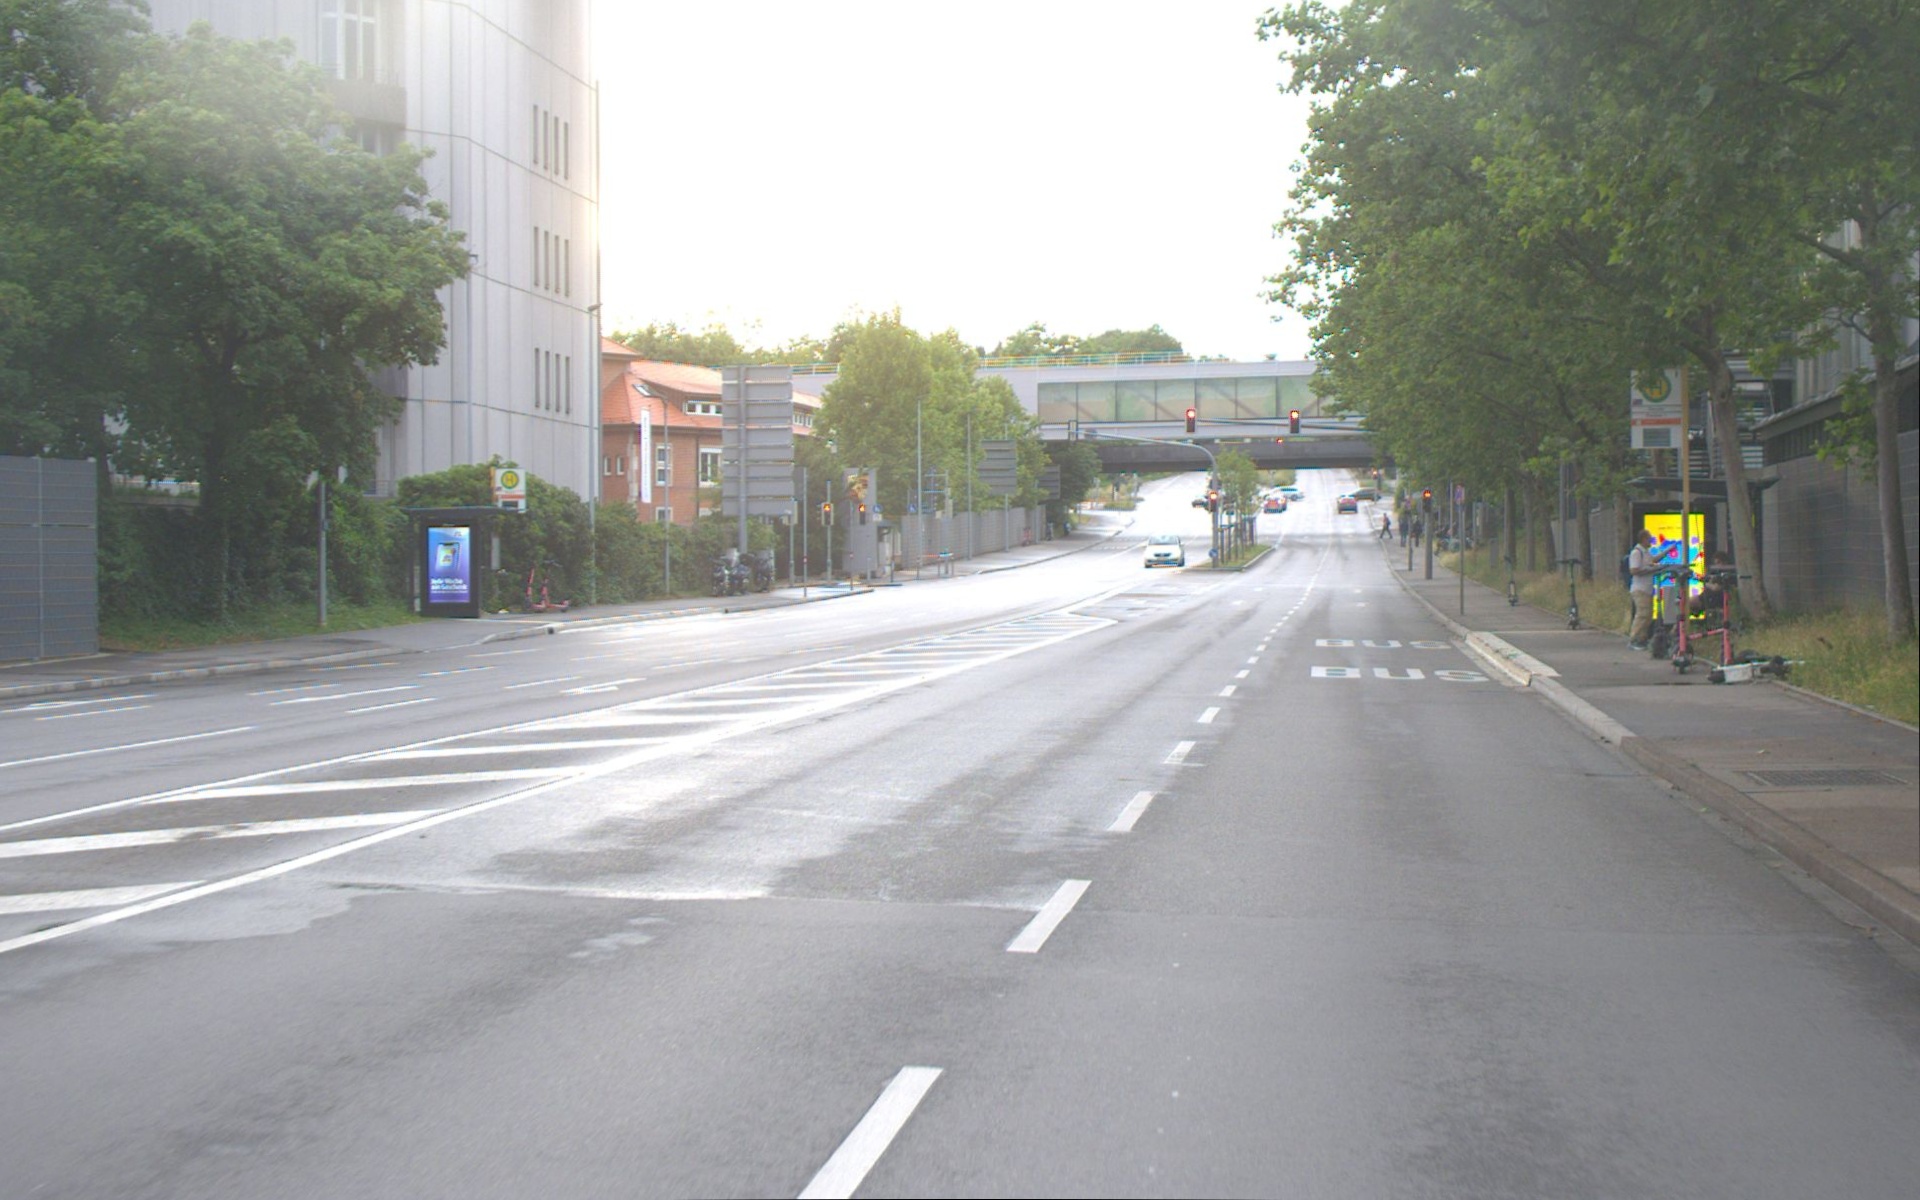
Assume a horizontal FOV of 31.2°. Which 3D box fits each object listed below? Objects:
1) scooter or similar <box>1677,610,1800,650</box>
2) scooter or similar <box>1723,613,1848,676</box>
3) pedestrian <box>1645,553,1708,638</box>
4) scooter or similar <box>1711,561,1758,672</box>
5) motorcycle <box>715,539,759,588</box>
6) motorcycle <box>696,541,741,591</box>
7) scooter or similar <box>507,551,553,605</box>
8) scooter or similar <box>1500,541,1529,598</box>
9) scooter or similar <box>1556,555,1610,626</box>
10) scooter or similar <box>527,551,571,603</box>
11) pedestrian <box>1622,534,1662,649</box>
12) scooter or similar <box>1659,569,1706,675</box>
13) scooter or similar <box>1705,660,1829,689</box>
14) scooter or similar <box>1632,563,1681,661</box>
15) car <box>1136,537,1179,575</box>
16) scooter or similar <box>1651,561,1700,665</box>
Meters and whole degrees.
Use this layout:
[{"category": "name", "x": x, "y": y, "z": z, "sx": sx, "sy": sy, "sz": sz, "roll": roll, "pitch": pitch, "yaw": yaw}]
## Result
[{"category": "scooter or similar", "x": 10.759, "y": 0.414, "z": 47.493, "sx": 1.563, "sy": 0.517, "sz": 0.642, "roll": 0, "pitch": 1, "yaw": 23}, {"category": "scooter or similar", "x": 9.896, "y": 0.524, "z": 41.258, "sx": 0.652, "sy": 0.711, "sz": 1.525, "roll": -1, "pitch": 1, "yaw": -25}, {"category": "pedestrian", "x": 11.214, "y": -0.074, "z": 53.808, "sx": 0.951, "sy": 1.312, "sz": 0.685, "roll": 0, "pitch": 1, "yaw": 13}, {"category": "scooter or similar", "x": 8.729, "y": 0.176, "z": 38.776, "sx": 0.388, "sy": 1.222, "sz": 1.073, "roll": -1, "pitch": 1, "yaw": 7}, {"category": "motorcycle", "x": -7.225, "y": -1.183, "z": 111.558, "sx": 0.959, "sy": 1.550, "sz": 3.299, "roll": -1, "pitch": 1, "yaw": 4}, {"category": "motorcycle", "x": -7.566, "y": -1.072, "z": 107.756, "sx": 0.913, "sy": 1.527, "sz": 3.299, "roll": -1, "pitch": 1, "yaw": 4}, {"category": "scooter or similar", "x": -10.280, "y": -0.534, "z": 82.213, "sx": 0.525, "sy": 1.248, "sz": 1.798, "roll": 0, "pitch": 1, "yaw": 11}, {"category": "scooter or similar", "x": 13.577, "y": -0.752, "z": 84.160, "sx": 0.609, "sy": 1.361, "sz": 1.920, "roll": 0, "pitch": 1, "yaw": 11}, {"category": "scooter or similar", "x": 11.211, "y": -0.181, "z": 61.847, "sx": 0.699, "sy": 1.240, "sz": 1.919, "roll": 0, "pitch": 1, "yaw": 18}, {"category": "scooter or similar", "x": -10.055, "y": -0.579, "z": 84.188, "sx": 0.497, "sy": 1.248, "sz": 1.920, "roll": 0, "pitch": 1, "yaw": 11}, {"category": "pedestrian", "x": 9.914, "y": -0.132, "z": 49.991, "sx": 0.481, "sy": 1.661, "sz": 0.662, "roll": -1, "pitch": 1, "yaw": 4}, {"category": "scooter or similar", "x": 8.813, "y": 0.260, "z": 41.955, "sx": 0.433, "sy": 1.266, "sz": 1.194, "roll": -1, "pitch": 1, "yaw": 7}, {"category": "scooter or similar", "x": 8.742, "y": 0.804, "z": 37.279, "sx": 0.652, "sy": 0.245, "sz": 1.525, "roll": -1, "pitch": 1, "yaw": -15}, {"category": "scooter or similar", "x": 9.401, "y": 0.150, "z": 46.432, "sx": 0.503, "sy": 1.288, "sz": 1.433, "roll": -1, "pitch": 1, "yaw": 7}, {"category": "car", "x": 9.408, "y": -2.091, "z": 164.089, "sx": 1.994, "sy": 1.766, "sz": 4.000, "roll": 0, "pitch": 1, "yaw": 3}, {"category": "scooter or similar", "x": 9.204, "y": 0.156, "z": 44.237, "sx": 0.475, "sy": 1.288, "sz": 1.433, "roll": -1, "pitch": 1, "yaw": 7}]
